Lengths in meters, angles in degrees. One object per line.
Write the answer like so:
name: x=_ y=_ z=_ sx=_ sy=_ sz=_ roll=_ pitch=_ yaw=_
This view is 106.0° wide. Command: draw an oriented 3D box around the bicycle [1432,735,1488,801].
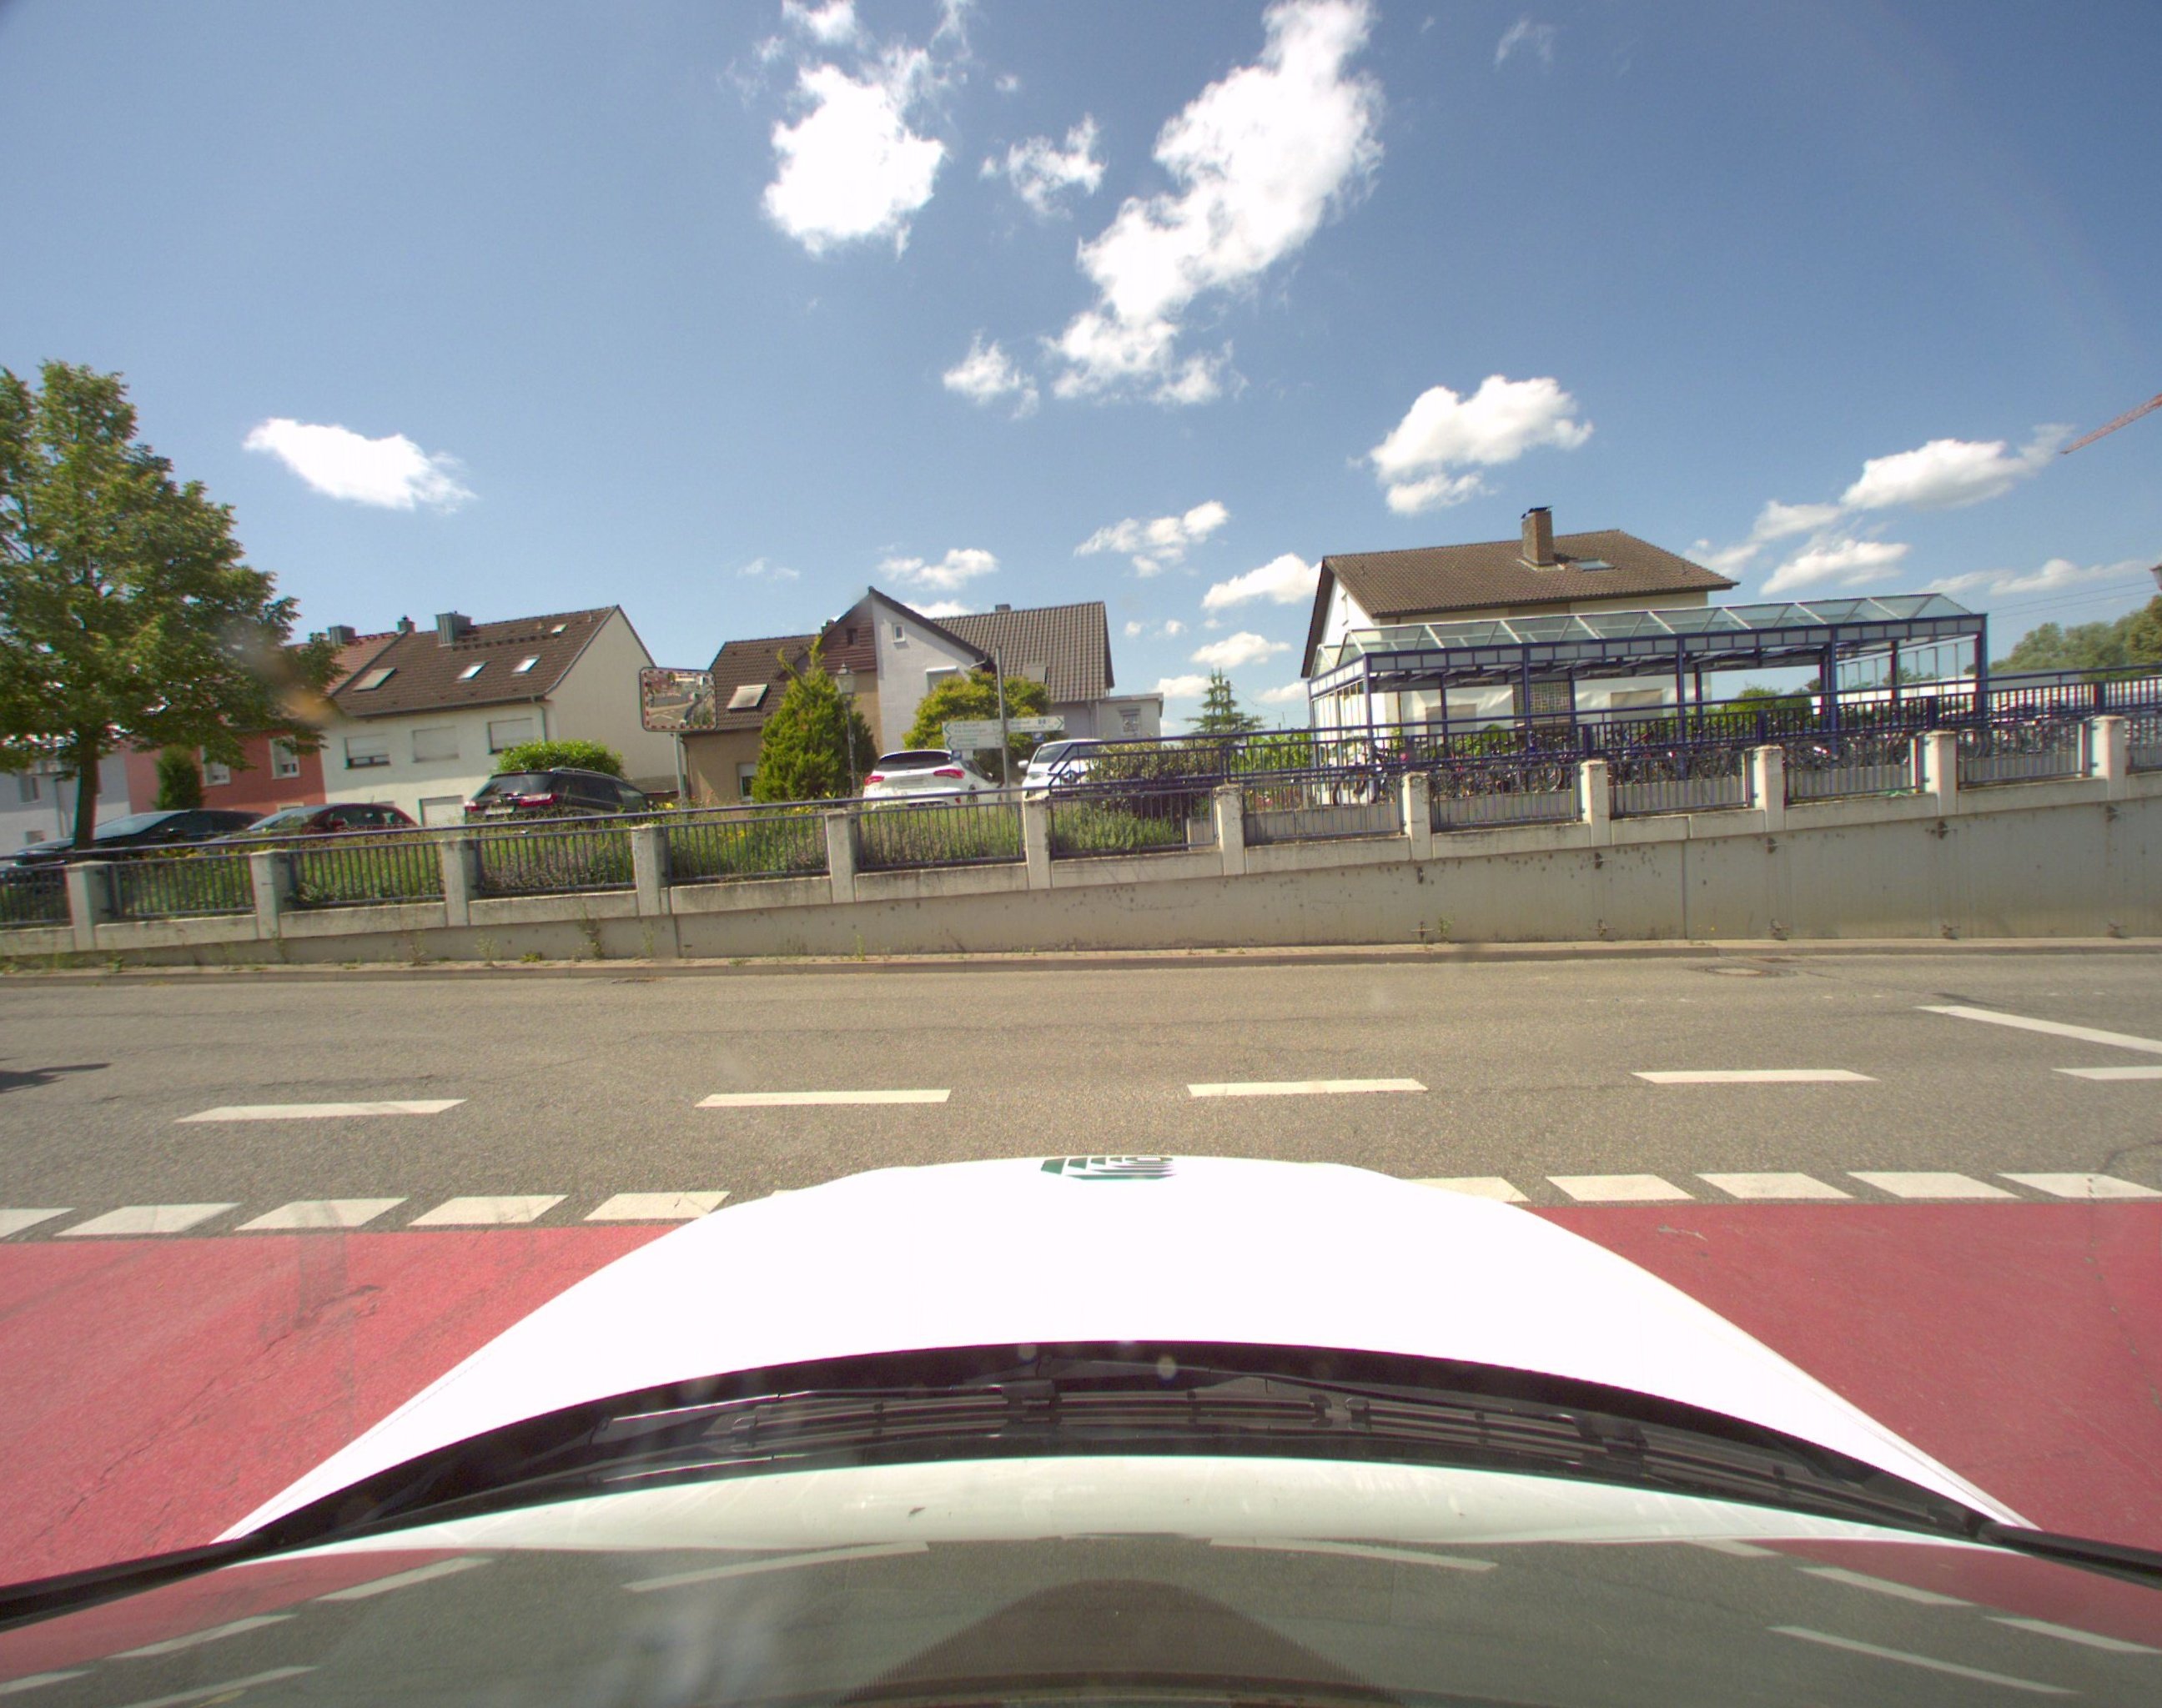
bicycle: x=6.382 y=-1.408 z=13.780 sx=0.432 sy=0.994 sz=2.111 roll=-3 pitch=3 yaw=14

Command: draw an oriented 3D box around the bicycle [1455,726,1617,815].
bicycle: x=6.424 y=-1.172 z=11.516 sx=2.110 sy=1.125 sz=0.392 roll=-4 pitch=2 yaw=-4

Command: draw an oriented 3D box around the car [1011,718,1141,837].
car: x=0.041 y=-1.211 z=14.632 sx=1.985 sy=1.797 sz=4.201 roll=0 pitch=1 yaw=3

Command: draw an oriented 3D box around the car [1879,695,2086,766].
car: x=28.257 y=-3.821 z=25.727 sx=1.991 sy=1.677 sz=3.992 roll=-4 pitch=3 yaw=-6

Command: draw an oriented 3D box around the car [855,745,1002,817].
car: x=-2.599 y=-1.245 z=14.724 sx=1.817 sy=1.019 sz=3.462 roll=0 pitch=1 yaw=3

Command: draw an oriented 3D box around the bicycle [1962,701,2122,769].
bicycle: x=17.401 y=-2.123 z=14.829 sx=0.542 sy=0.994 sz=2.040 roll=-3 pitch=3 yaw=1

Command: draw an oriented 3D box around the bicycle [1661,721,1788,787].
bicycle: x=11.504 y=-1.760 z=14.663 sx=0.531 sy=0.994 sz=2.188 roll=-3 pitch=3 yaw=0

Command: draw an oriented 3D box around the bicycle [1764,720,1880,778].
bicycle: x=15.053 y=-2.101 z=16.627 sx=0.517 sy=0.994 sz=1.964 roll=-3 pitch=3 yaw=-2

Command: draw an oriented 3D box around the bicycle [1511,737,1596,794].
bicycle: x=9.415 y=-1.746 z=16.321 sx=0.472 sy=0.994 sz=1.964 roll=-3 pitch=3 yaw=-2

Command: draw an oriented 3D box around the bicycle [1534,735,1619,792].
bicycle: x=9.891 y=-1.775 z=16.327 sx=0.413 sy=0.994 sz=1.964 roll=-3 pitch=3 yaw=-2

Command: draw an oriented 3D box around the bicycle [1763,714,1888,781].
bicycle: x=13.234 y=-1.859 z=14.567 sx=0.513 sy=0.994 sz=2.042 roll=-3 pitch=3 yaw=5

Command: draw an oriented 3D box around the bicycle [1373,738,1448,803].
bicycle: x=5.704 y=-1.421 z=14.200 sx=0.331 sy=0.994 sz=2.074 roll=-3 pitch=3 yaw=-3

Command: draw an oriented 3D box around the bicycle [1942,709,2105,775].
bicycle: x=17.307 y=-2.028 z=15.048 sx=0.435 sy=0.994 sz=2.160 roll=-3 pitch=3 yaw=-3

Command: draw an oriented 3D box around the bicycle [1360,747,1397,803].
bicycle: x=5.768 y=-1.503 z=15.850 sx=0.452 sy=0.994 sz=1.896 roll=-3 pitch=3 yaw=14

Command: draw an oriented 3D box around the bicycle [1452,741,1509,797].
bicycle: x=7.935 y=-1.653 z=16.253 sx=0.371 sy=0.994 sz=1.970 roll=-3 pitch=3 yaw=7

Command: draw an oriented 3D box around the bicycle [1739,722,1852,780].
bicycle: x=14.505 y=-2.067 z=16.602 sx=0.517 sy=0.994 sz=1.964 roll=-3 pitch=3 yaw=-2

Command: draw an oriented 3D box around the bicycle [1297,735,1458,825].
bicycle: x=4.130 y=-1.026 z=11.364 sx=2.110 sy=1.125 sz=0.332 roll=-4 pitch=2 yaw=-4

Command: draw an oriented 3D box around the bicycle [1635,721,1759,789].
bicycle: x=10.821 y=-1.706 z=14.410 sx=0.531 sy=0.994 sz=2.188 roll=-3 pitch=3 yaw=0

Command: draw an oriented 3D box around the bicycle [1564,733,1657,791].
bicycle: x=10.602 y=-1.821 z=16.386 sx=0.517 sy=0.994 sz=1.964 roll=-3 pitch=3 yaw=-2

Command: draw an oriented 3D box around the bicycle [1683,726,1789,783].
bicycle: x=13.307 y=-1.995 z=16.622 sx=0.517 sy=0.994 sz=1.964 roll=-3 pitch=3 yaw=-2

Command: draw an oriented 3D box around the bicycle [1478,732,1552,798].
bicycle: x=7.401 y=-1.480 z=13.979 sx=0.433 sy=0.994 sz=2.108 roll=-3 pitch=3 yaw=9

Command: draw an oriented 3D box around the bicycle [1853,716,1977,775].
bicycle: x=16.900 y=-2.176 z=16.569 sx=0.541 sy=0.994 sz=2.042 roll=-3 pitch=3 yaw=4

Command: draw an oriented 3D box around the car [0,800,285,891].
car: x=-18.369 y=-0.171 z=15.963 sx=1.859 sy=1.586 sz=3.613 roll=0 pitch=1 yaw=3

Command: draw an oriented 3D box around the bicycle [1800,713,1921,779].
bicycle: x=13.931 y=-1.905 z=14.633 sx=0.512 sy=0.994 sz=2.045 roll=-3 pitch=3 yaw=11

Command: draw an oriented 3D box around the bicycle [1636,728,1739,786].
bicycle: x=12.025 y=-1.899 z=16.231 sx=0.517 sy=0.994 sz=1.964 roll=-3 pitch=3 yaw=-2

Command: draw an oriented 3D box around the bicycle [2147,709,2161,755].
bicycle: x=24.288 y=-2.693 z=17.315 sx=0.509 sy=0.994 sz=2.023 roll=-4 pitch=3 yaw=-5

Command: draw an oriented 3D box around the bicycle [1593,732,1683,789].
bicycle: x=11.270 y=-1.869 z=16.539 sx=0.517 sy=0.994 sz=1.800 roll=-3 pitch=3 yaw=-2

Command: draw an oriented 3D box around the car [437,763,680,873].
car: x=-9.632 y=-0.622 z=15.475 sx=1.859 sy=1.797 sz=4.004 roll=0 pitch=1 yaw=3

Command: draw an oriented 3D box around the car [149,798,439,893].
car: x=-14.608 y=-0.162 z=15.437 sx=1.859 sy=1.586 sz=3.613 roll=0 pitch=1 yaw=3

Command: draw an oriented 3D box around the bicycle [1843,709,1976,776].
bicycle: x=14.670 y=-1.943 z=14.502 sx=0.513 sy=0.994 sz=2.044 roll=-3 pitch=3 yaw=7

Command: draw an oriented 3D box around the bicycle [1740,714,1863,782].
bicycle: x=12.486 y=-1.797 z=14.205 sx=0.575 sy=0.994 sz=2.195 roll=-3 pitch=3 yaw=12

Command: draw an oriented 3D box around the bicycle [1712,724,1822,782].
bicycle: x=13.918 y=-2.032 z=16.606 sx=0.517 sy=0.994 sz=1.964 roll=-3 pitch=3 yaw=-2

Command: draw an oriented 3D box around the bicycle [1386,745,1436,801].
bicycle: x=6.456 y=-1.553 z=16.010 sx=0.371 sy=0.994 sz=1.970 roll=-3 pitch=3 yaw=7

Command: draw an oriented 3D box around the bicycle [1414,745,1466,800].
bicycle: x=7.206 y=-1.618 z=16.429 sx=0.371 sy=0.994 sz=1.970 roll=-3 pitch=3 yaw=7

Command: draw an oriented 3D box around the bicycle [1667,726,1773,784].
bicycle: x=12.755 y=-1.949 z=16.339 sx=0.517 sy=0.994 sz=1.964 roll=-3 pitch=3 yaw=-2

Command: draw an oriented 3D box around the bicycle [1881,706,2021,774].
bicycle: x=15.484 y=-1.995 z=14.576 sx=0.541 sy=0.994 sz=2.044 roll=-3 pitch=3 yaw=7

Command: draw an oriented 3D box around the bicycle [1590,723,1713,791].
bicycle: x=9.854 y=-1.637 z=14.178 sx=0.531 sy=0.994 sz=2.281 roll=-3 pitch=3 yaw=0

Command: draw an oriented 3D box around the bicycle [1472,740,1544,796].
bicycle: x=8.570 y=-1.700 z=16.424 sx=0.424 sy=0.994 sz=1.966 roll=-3 pitch=3 yaw=1

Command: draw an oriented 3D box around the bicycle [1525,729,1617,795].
bicycle: x=8.508 y=-1.559 z=14.253 sx=0.433 sy=0.994 sz=2.286 roll=-3 pitch=3 yaw=6
